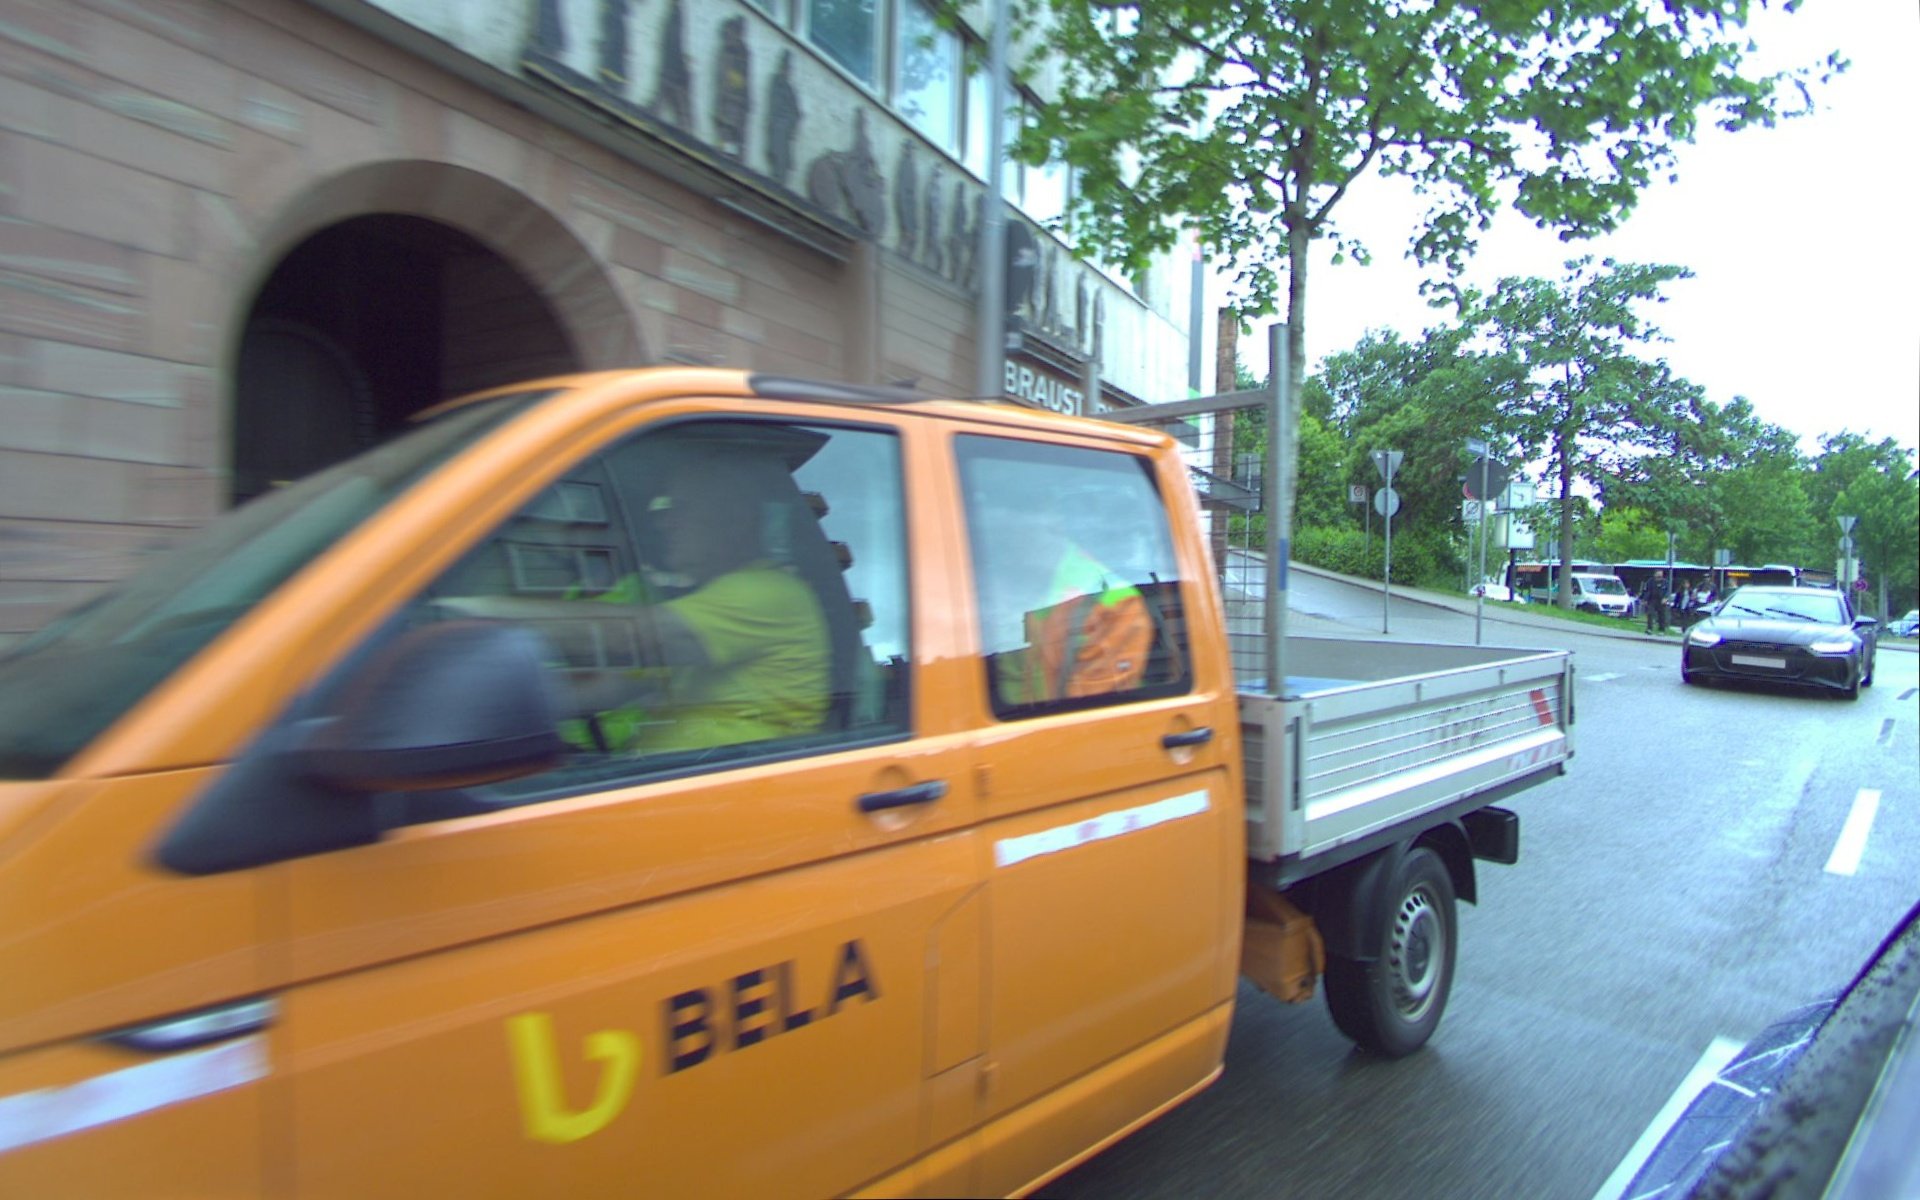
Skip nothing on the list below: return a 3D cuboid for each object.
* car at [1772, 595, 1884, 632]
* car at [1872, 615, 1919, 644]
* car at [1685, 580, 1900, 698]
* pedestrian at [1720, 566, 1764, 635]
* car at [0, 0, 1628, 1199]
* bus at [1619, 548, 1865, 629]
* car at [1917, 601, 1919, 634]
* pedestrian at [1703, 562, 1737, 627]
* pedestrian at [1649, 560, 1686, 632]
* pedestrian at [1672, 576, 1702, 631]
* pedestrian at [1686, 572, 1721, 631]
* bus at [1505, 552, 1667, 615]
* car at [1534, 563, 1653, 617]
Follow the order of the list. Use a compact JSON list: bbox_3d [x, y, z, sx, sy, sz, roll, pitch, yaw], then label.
[{"bbox_3d":[39.201,0.590,45.801,1.557,1.469,3.576,3,1,-10],"label":"car"},{"bbox_3d":[53.708,1.685,56.598,4.173,1.458,1.861,2,1,-11],"label":"car"},{"bbox_3d":[12.398,0.472,14.975,4.288,1.422,1.894,0,3,-43],"label":"car"},{"bbox_3d":[21.995,0.011,28.475,0.737,1.851,0.687,6,4,30],"label":"pedestrian"},{"bbox_3d":[-0.215,0.279,2.919,5.445,2.114,2.107,0,4,-41],"label":"car"},{"bbox_3d":[35.817,-0.722,47.068,2.649,3.255,9.679,3,2,-9],"label":"bus"},{"bbox_3d":[70.107,1.389,70.890,4.907,2.348,1.978,3,2,-14],"label":"car"},{"bbox_3d":[24.289,-0.181,32.350,0.583,2.038,0.780,4,2,27],"label":"pedestrian"},{"bbox_3d":[17.859,-0.117,25.552,0.570,1.706,0.951,7,6,37],"label":"pedestrian"},{"bbox_3d":[23.537,0.110,32.754,0.551,1.726,0.525,4,2,22],"label":"pedestrian"},{"bbox_3d":[21.242,0.029,28.912,0.597,1.618,0.699,6,4,31],"label":"pedestrian"},{"bbox_3d":[34.377,-0.900,56.056,2.632,3.220,8.575,0,1,-9],"label":"bus"},{"bbox_3d":[29.490,-0.549,47.437,2.218,2.261,6.330,2,3,8],"label":"car"}]
